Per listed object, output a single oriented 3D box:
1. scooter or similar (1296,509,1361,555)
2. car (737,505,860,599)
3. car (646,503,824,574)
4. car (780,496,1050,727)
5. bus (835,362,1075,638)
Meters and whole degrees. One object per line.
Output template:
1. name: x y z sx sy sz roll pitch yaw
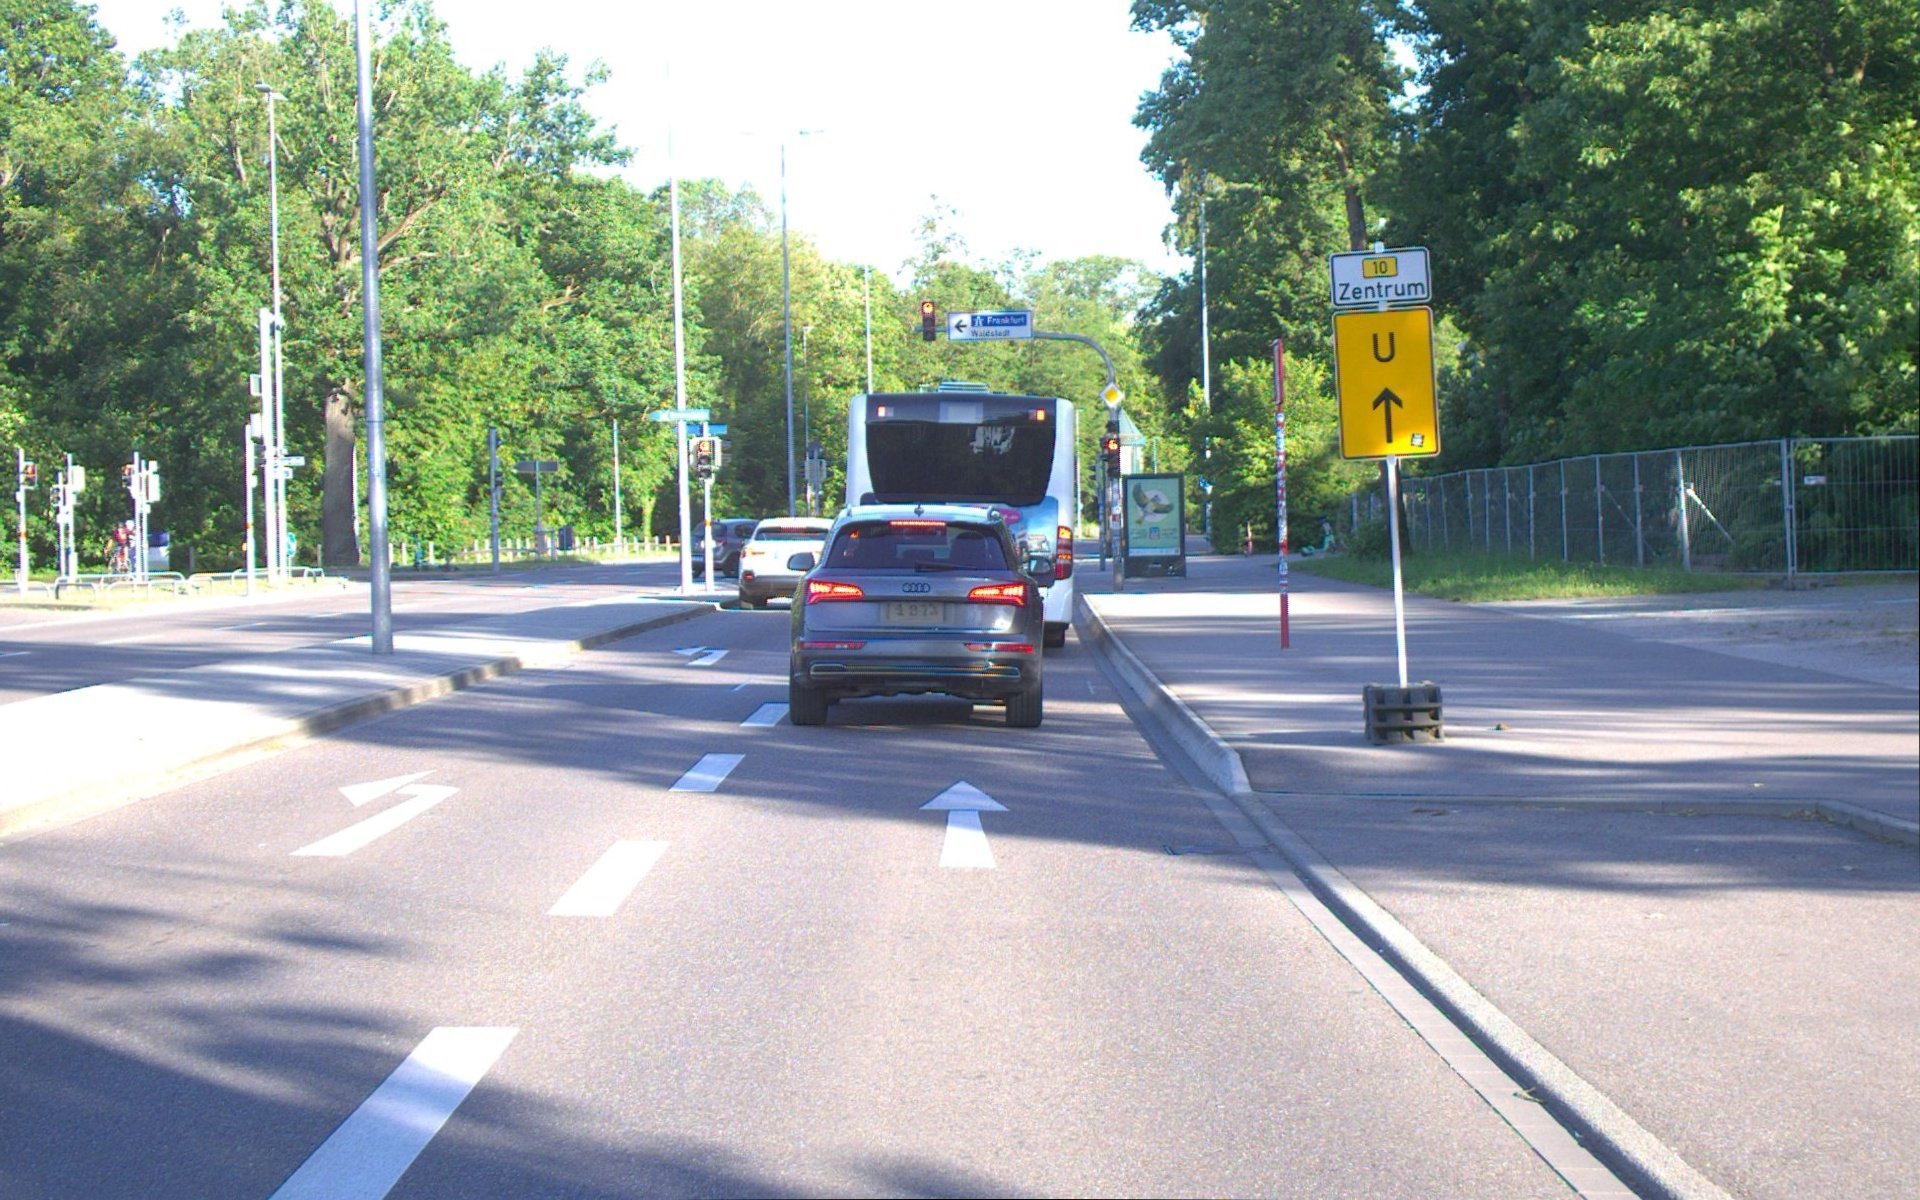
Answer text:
1. scooter or similar: 11.867 -2.191 110.820 2.015 1.439 0.606 -2 1 -23
2. car: -2.699 -0.835 58.238 1.836 1.513 4.000 -1 2 1
3. car: -5.709 -1.561 87.313 3.986 1.634 2.066 -3 1 -24
4. car: -0.292 0.029 26.469 1.898 1.626 4.000 1 2 1
5. bus: 0.014 -1.169 42.078 2.595 2.978 9.327 0 1 1
